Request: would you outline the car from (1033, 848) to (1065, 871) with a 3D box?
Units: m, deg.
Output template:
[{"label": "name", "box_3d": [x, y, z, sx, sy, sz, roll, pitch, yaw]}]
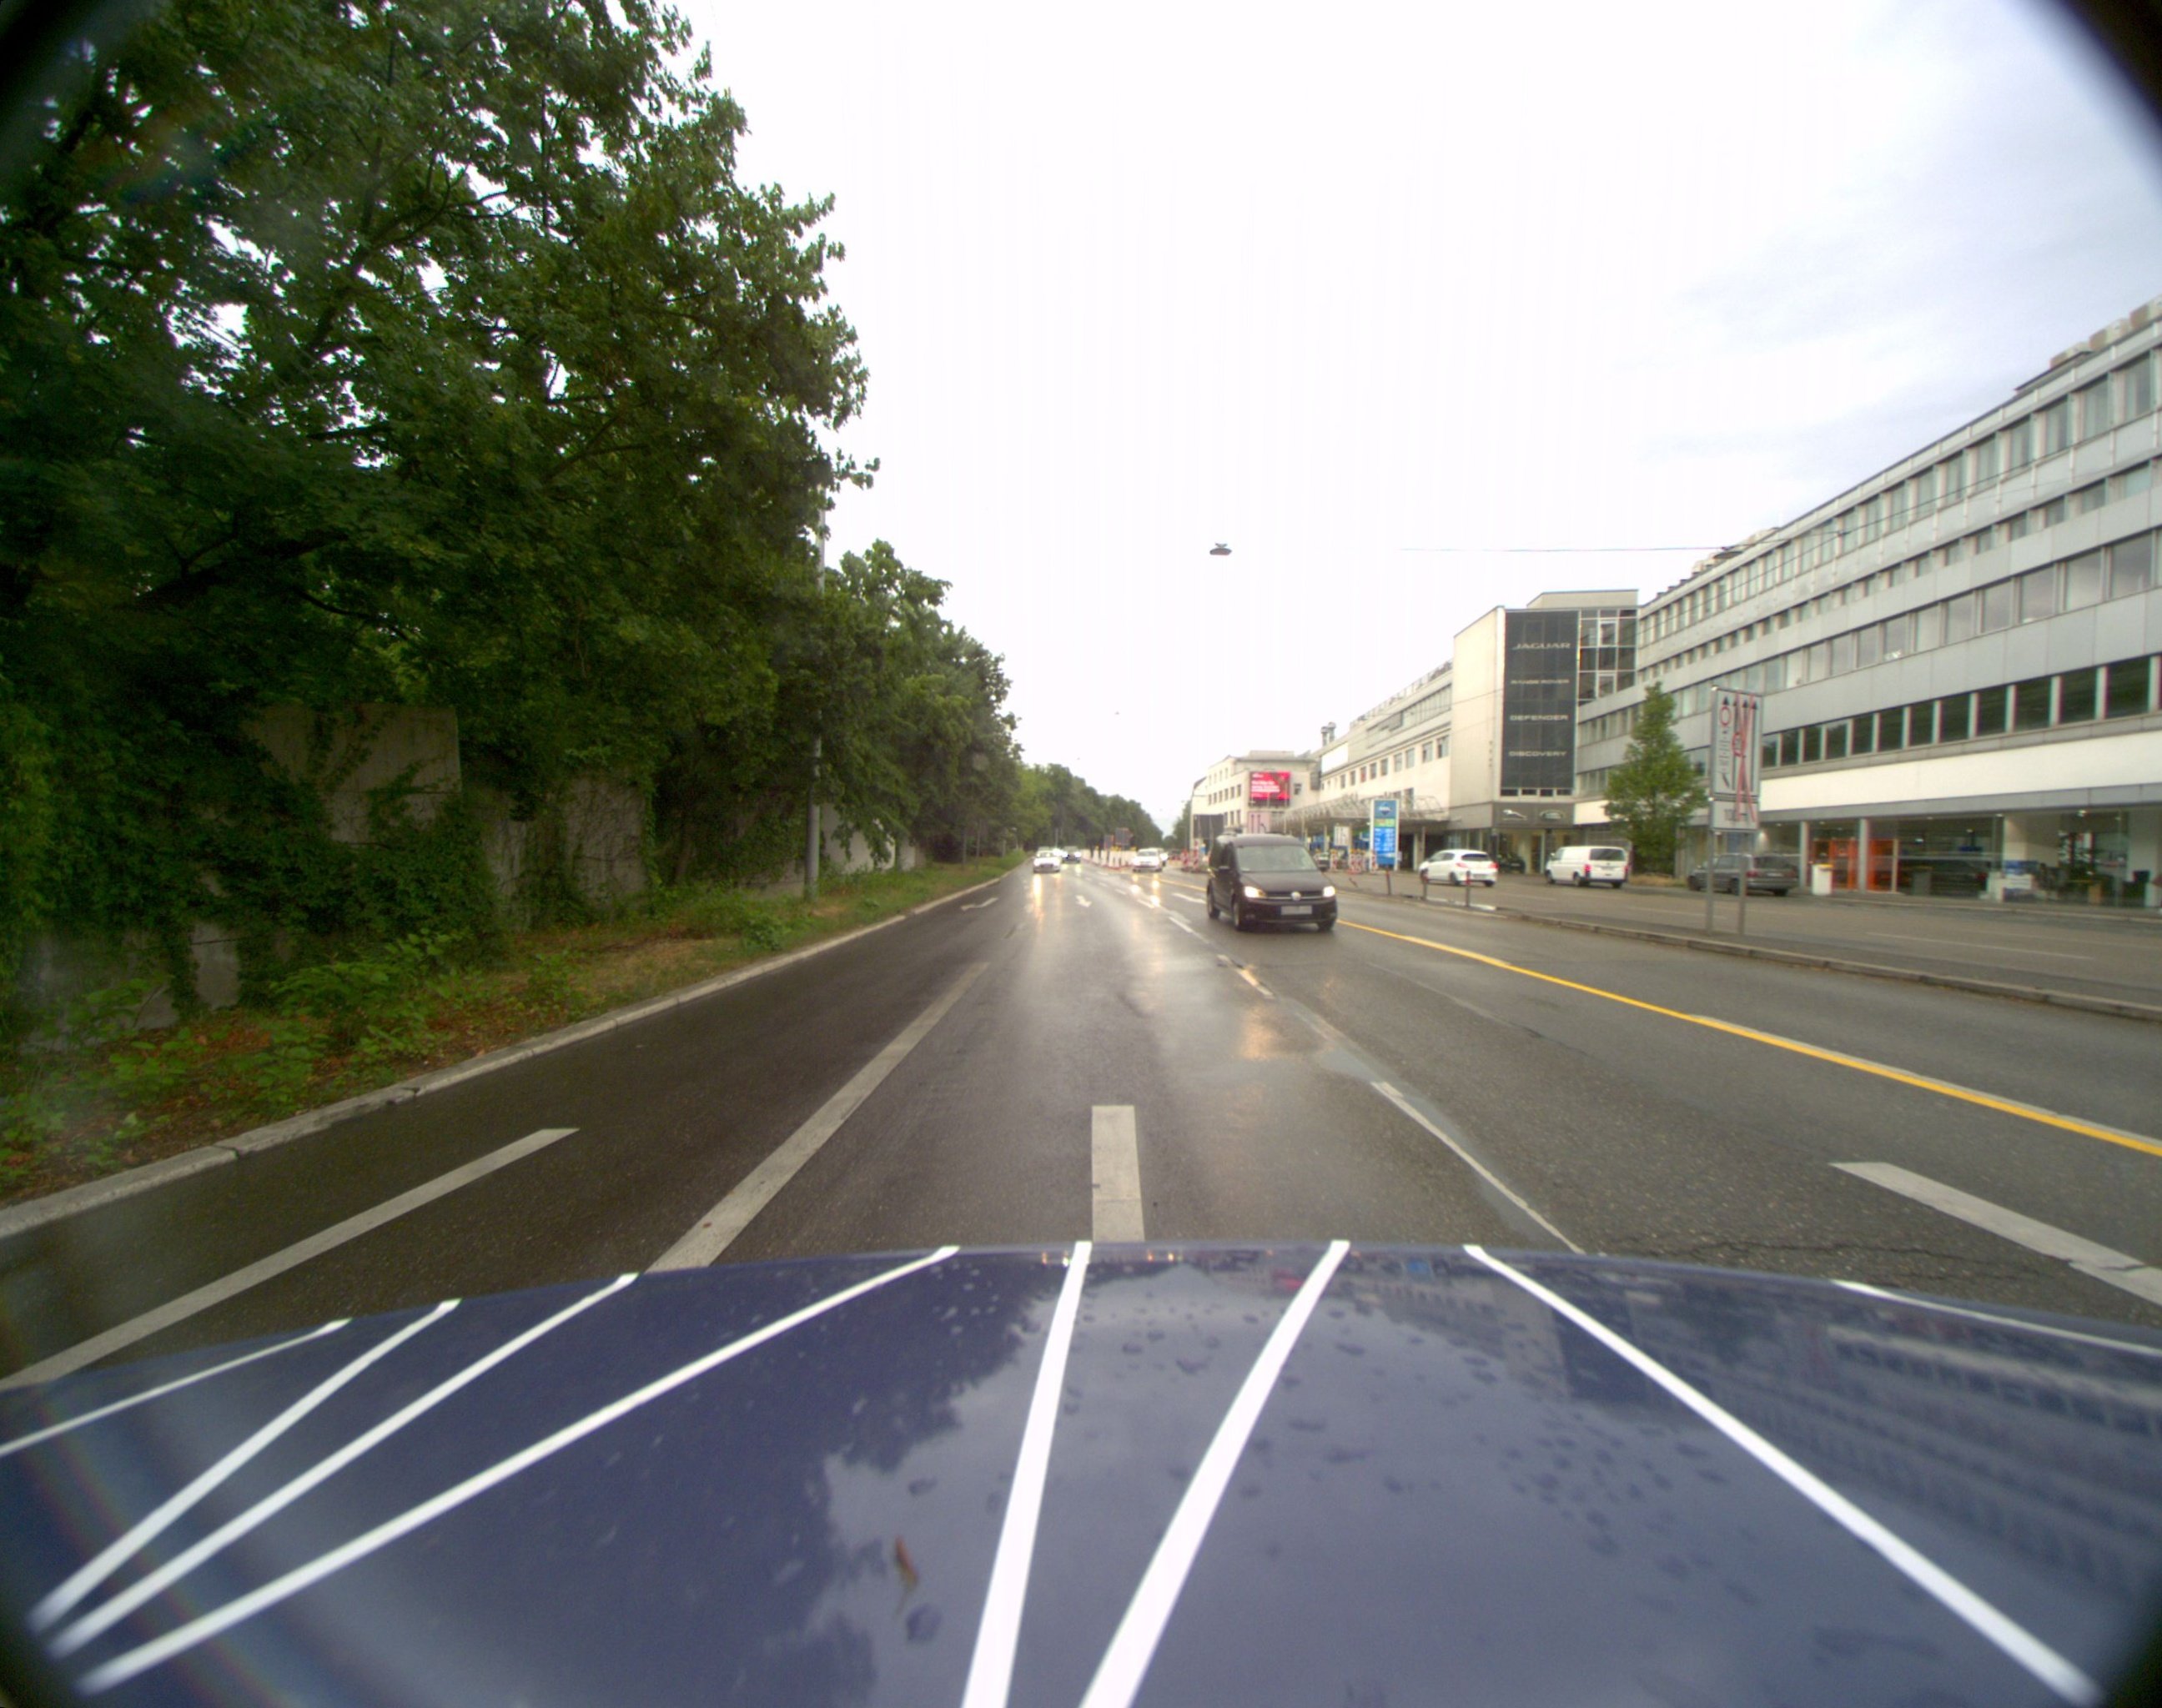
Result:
[{"label": "car", "box_3d": [-2.179, 0.326, 52.651, 1.814, 1.444, 4.333, -2, 1, 2]}]

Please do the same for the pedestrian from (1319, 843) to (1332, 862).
[{"label": "pedestrian", "box_3d": [23.702, -0.175, 73.661, 0.895, 1.804, 0.941, -2, 1, 5]}]

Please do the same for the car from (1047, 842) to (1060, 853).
[{"label": "car", "box_3d": [-4.350, -1.014, 120.823, 1.814, 1.590, 4.333, -2, 1, 2]}]

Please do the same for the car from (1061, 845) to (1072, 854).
[{"label": "car", "box_3d": [-2.703, -0.931, 144.234, 1.814, 1.590, 4.333, -2, 1, 2]}]

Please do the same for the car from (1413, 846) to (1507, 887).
[{"label": "car", "box_3d": [15.698, 0.487, 31.688, 1.806, 1.523, 3.763, 4, 0, -3]}]

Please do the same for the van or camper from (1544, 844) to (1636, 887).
[{"label": "van or camper", "box_3d": [24.492, 0.492, 36.789, 1.939, 1.913, 4.688, 0, 1, 10]}]

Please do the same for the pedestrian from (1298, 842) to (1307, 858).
[{"label": "pedestrian", "box_3d": [25.016, -0.469, 85.999, 0.894, 1.804, 0.942, -2, 1, 14]}]

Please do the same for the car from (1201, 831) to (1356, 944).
[{"label": "car", "box_3d": [3.604, 0.529, 14.717, 1.905, 1.804, 4.430, -2, 1, 2]}]

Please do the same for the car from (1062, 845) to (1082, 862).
[{"label": "car", "box_3d": [-0.926, -0.073, 75.665, 1.814, 1.590, 4.332, -2, 1, -2]}]

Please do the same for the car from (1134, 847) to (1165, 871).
[{"label": "car", "box_3d": [4.516, 0.292, 49.694, 1.770, 1.407, 4.335, -2, 1, 8]}]

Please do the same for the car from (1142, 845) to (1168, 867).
[{"label": "car", "box_3d": [5.825, 0.105, 60.078, 1.771, 1.608, 3.949, -2, 1, 2]}]

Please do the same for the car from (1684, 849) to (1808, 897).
[{"label": "car", "box_3d": [28.297, 0.765, 32.528, 1.922, 1.805, 4.166, -2, 1, 6]}]

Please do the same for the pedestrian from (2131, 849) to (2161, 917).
[{"label": "pedestrian", "box_3d": [28.993, 0.762, 20.256, 0.761, 1.765, 0.864, -2, 1, 8]}]
